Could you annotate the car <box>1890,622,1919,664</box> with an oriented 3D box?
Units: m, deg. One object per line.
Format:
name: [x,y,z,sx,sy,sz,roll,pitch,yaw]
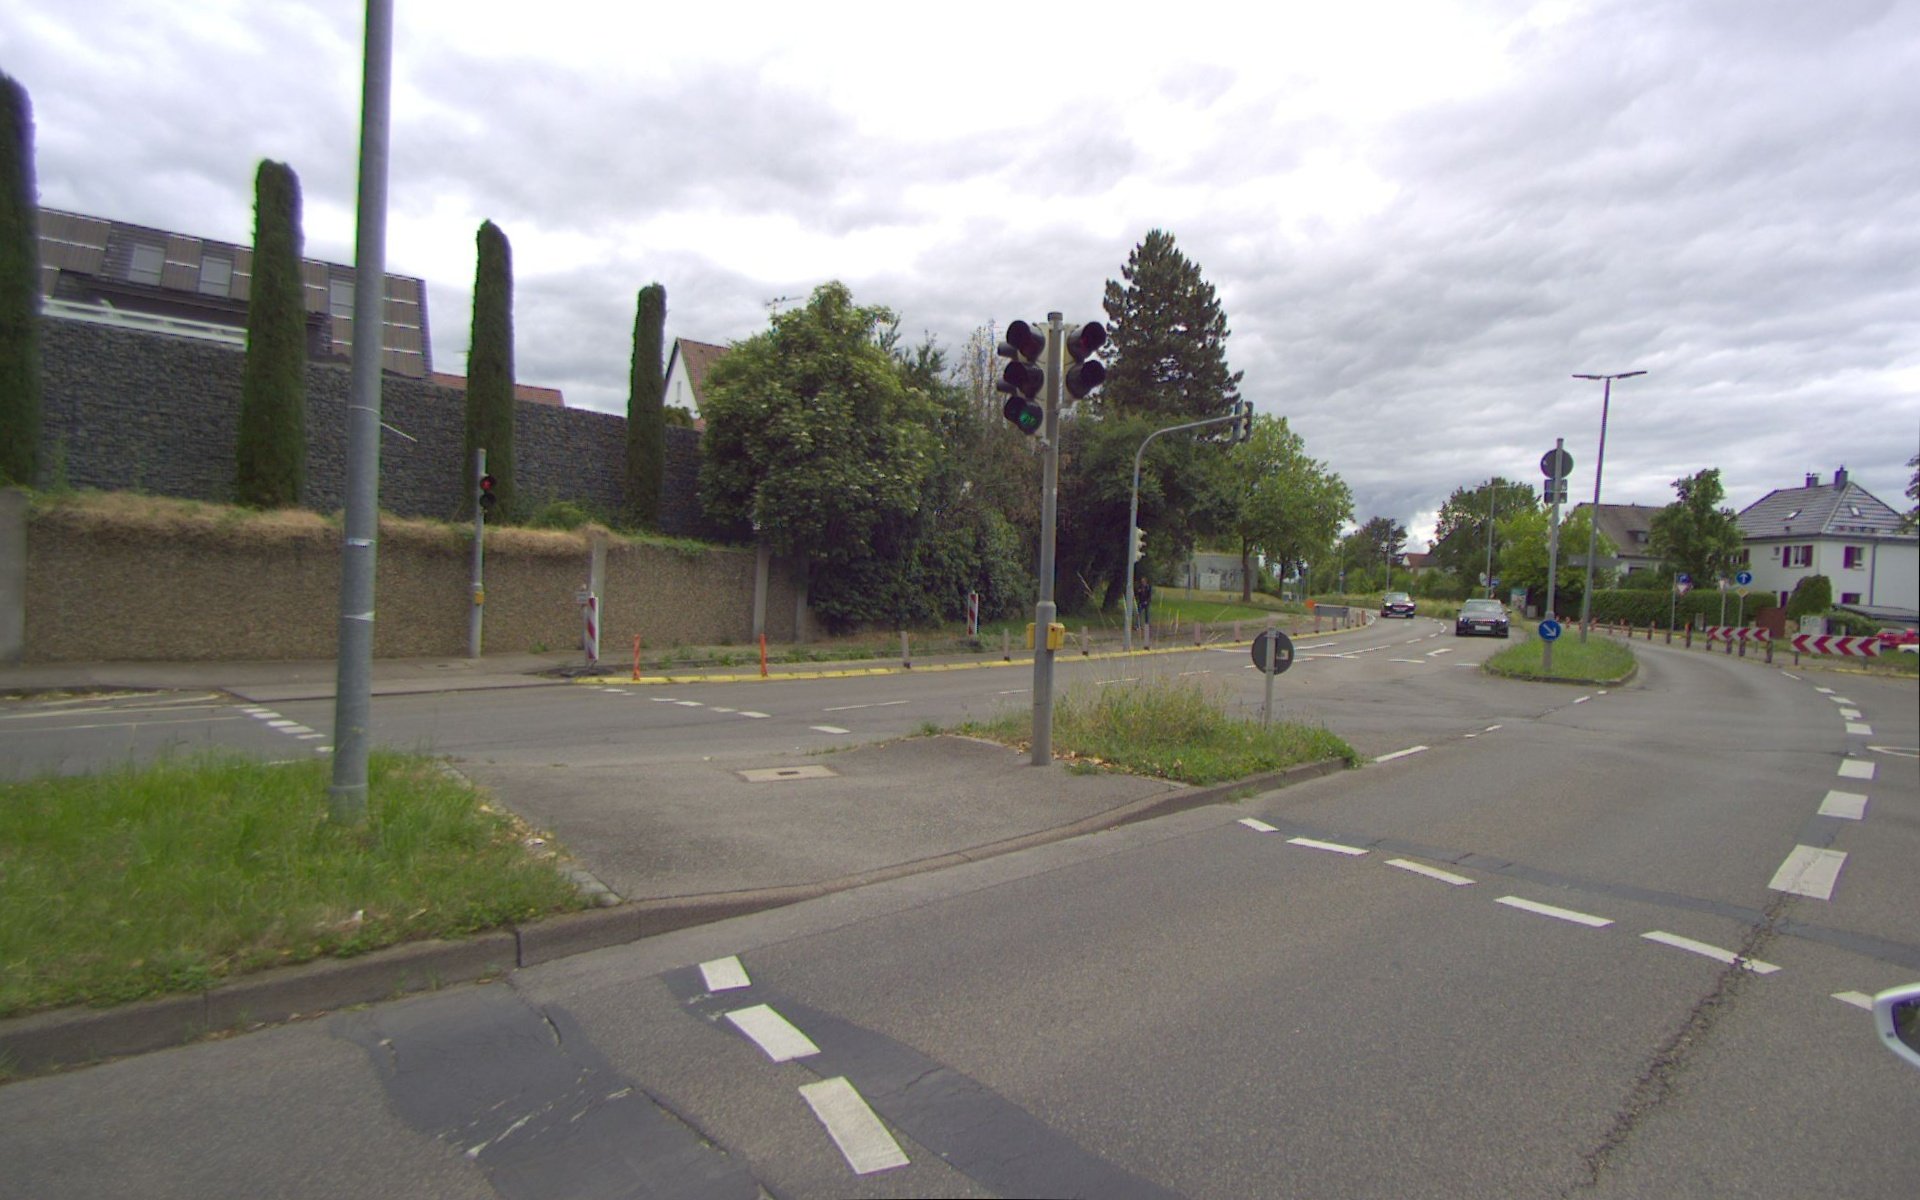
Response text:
car: [44.752,2.048,44.428,2.179,1.815,4.869,2,1,-13]

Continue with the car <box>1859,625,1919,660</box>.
car: [48.636,2.248,51.448,3.753,1.537,1.608,5,2,-5]

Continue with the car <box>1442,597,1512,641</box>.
car: [21.046,0.714,41.038,1.809,1.653,4.261,1,1,17]

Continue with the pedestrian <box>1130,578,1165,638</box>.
pedestrian: [6.546,0.262,35.059,0.935,2.041,0.853,3,2,27]
